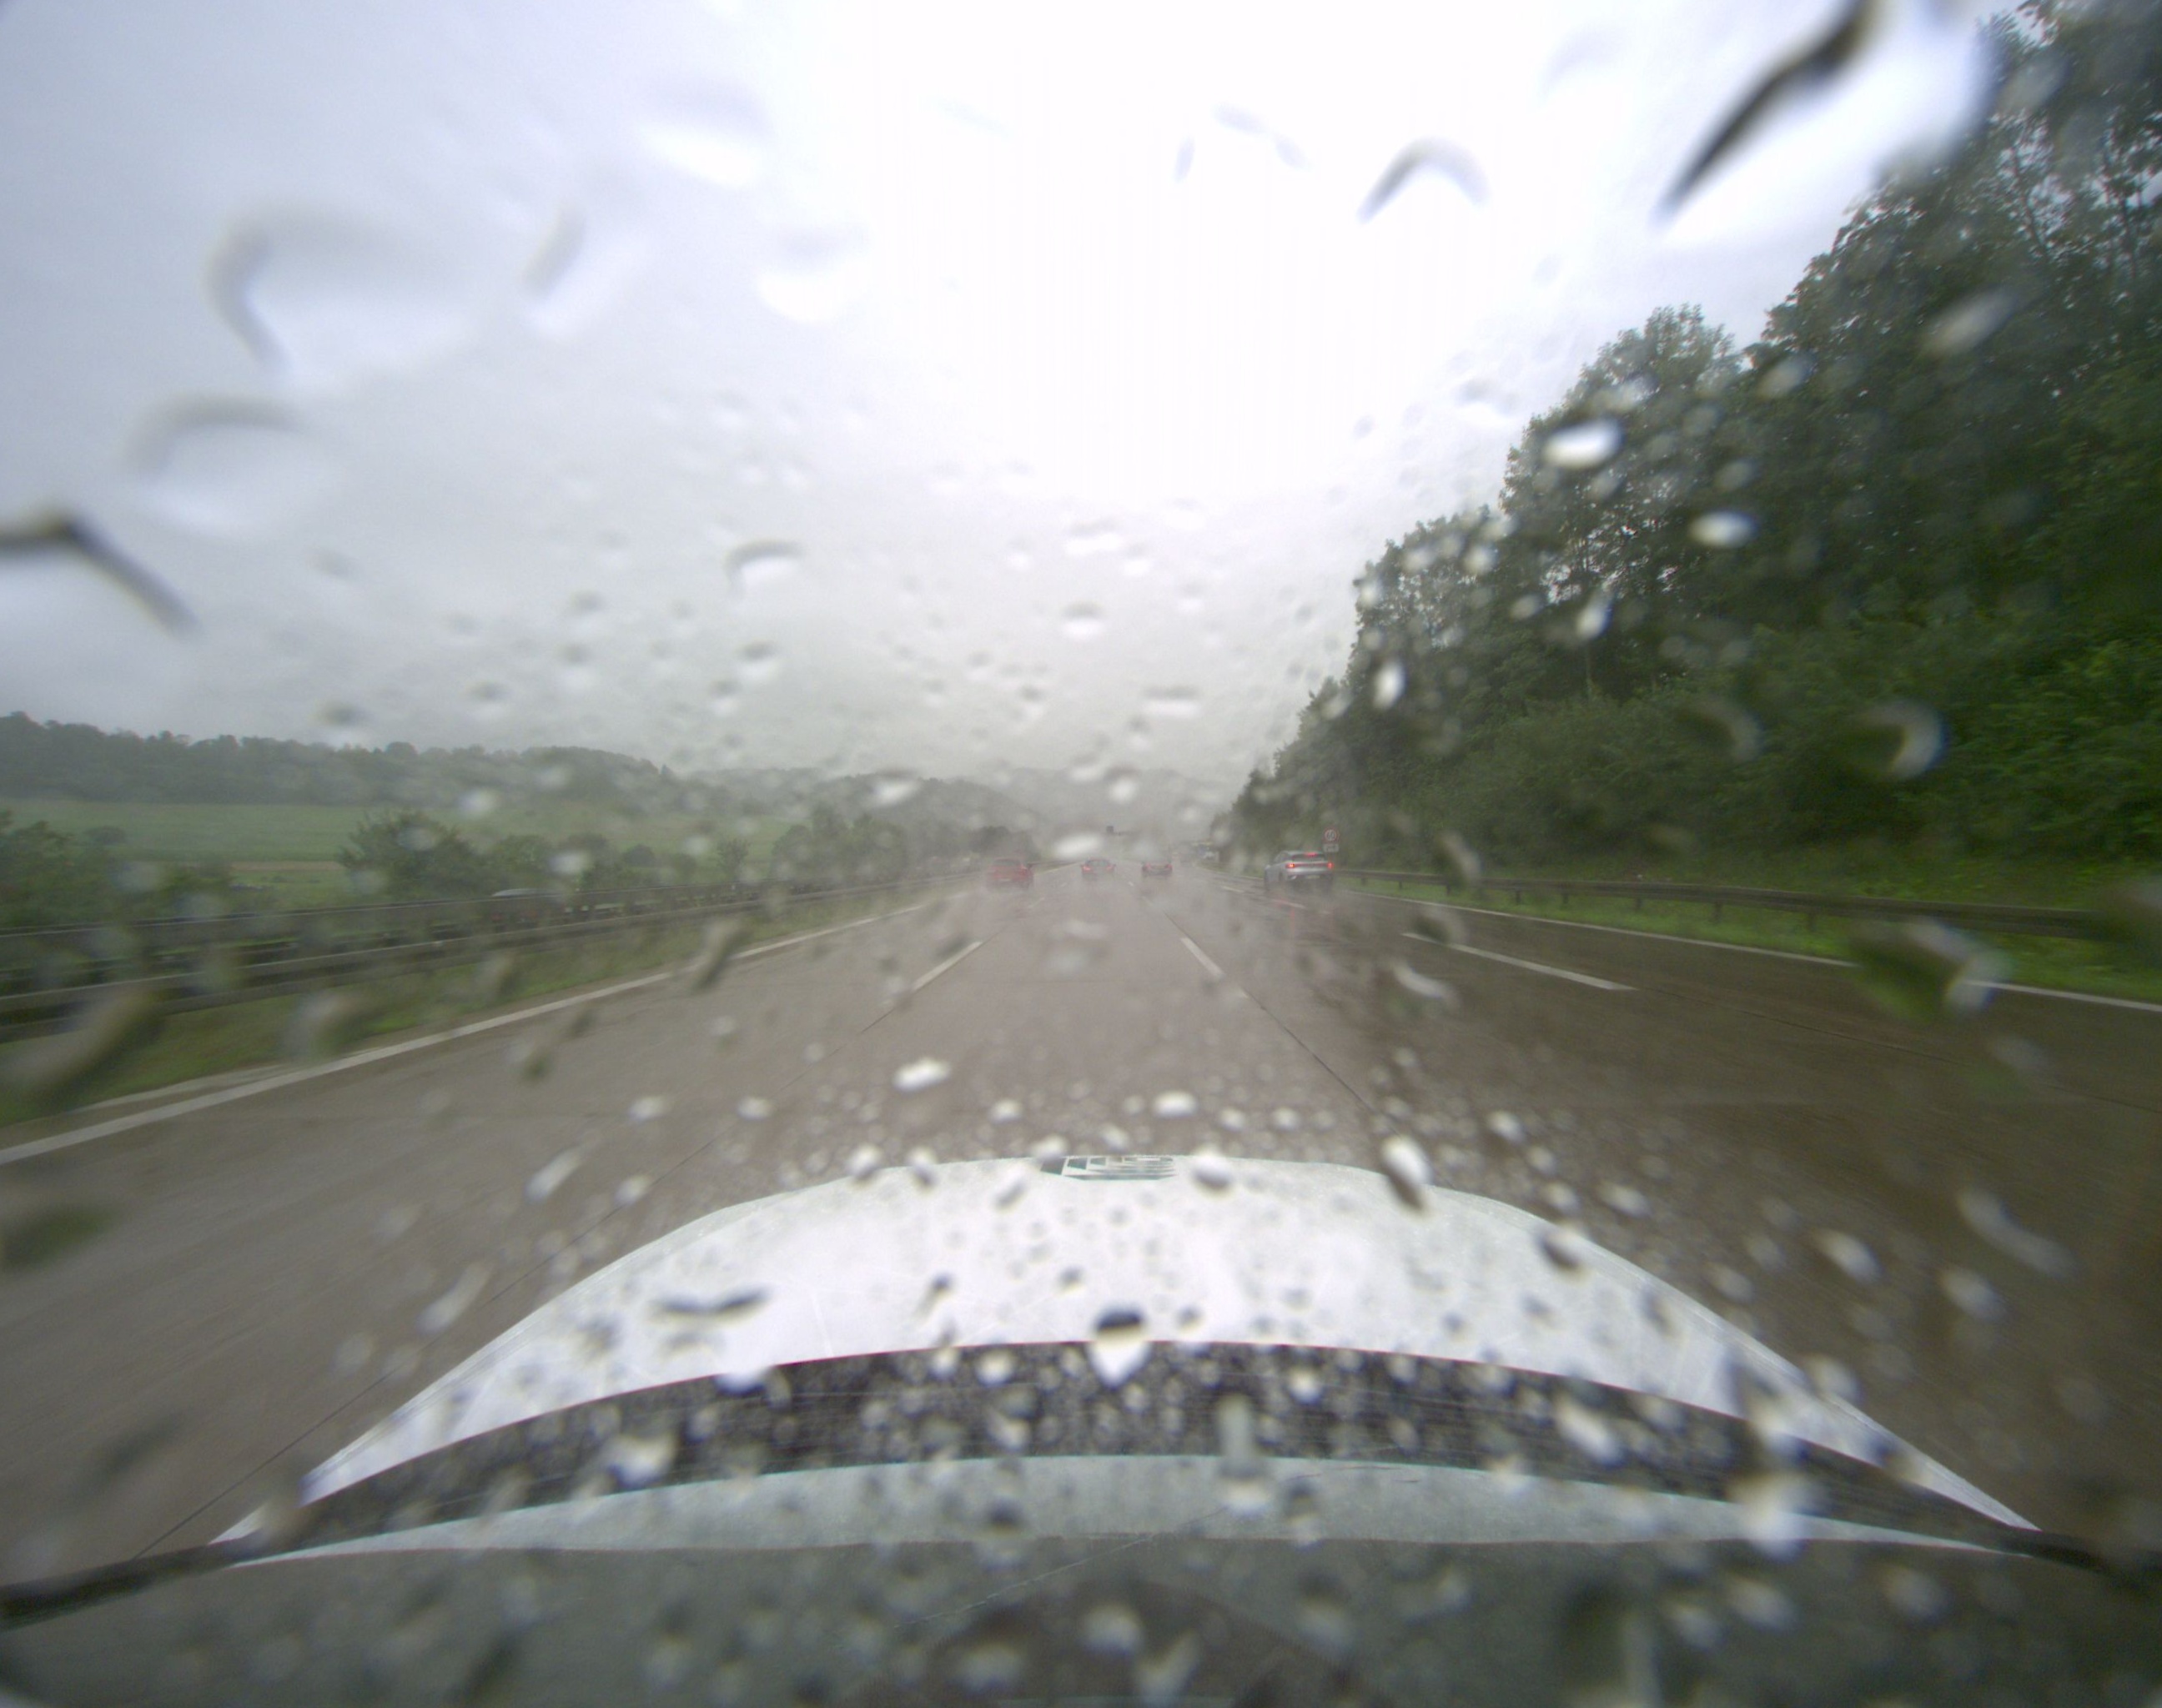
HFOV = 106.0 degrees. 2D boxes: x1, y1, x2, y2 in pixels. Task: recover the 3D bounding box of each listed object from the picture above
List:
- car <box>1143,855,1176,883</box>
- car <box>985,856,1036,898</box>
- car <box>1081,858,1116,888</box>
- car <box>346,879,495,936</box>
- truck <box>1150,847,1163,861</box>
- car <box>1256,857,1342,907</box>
[{"bbox_3d":[5.248,0.986,54.972,1.964,1.760,4.002,-2,0,2],"label":"car"},{"bbox_3d":[-3.235,1.013,38.041,1.878,1.816,4.000,-2,0,1],"label":"car"},{"bbox_3d":[0.991,1.018,45.035,1.852,1.589,4.001,-1,0,2],"label":"car"},{"bbox_3d":[-23.530,1.849,29.239,1.986,1.782,4.001,-1,-1,2],"label":"car"},{"bbox_3d":[23.448,-0.073,254.478,3.388,4.402,11.054,0,0,2],"label":"truck"},{"bbox_3d":[8.266,1.004,31.473,1.986,1.750,5.665,-1,0,2],"label":"car"}]
